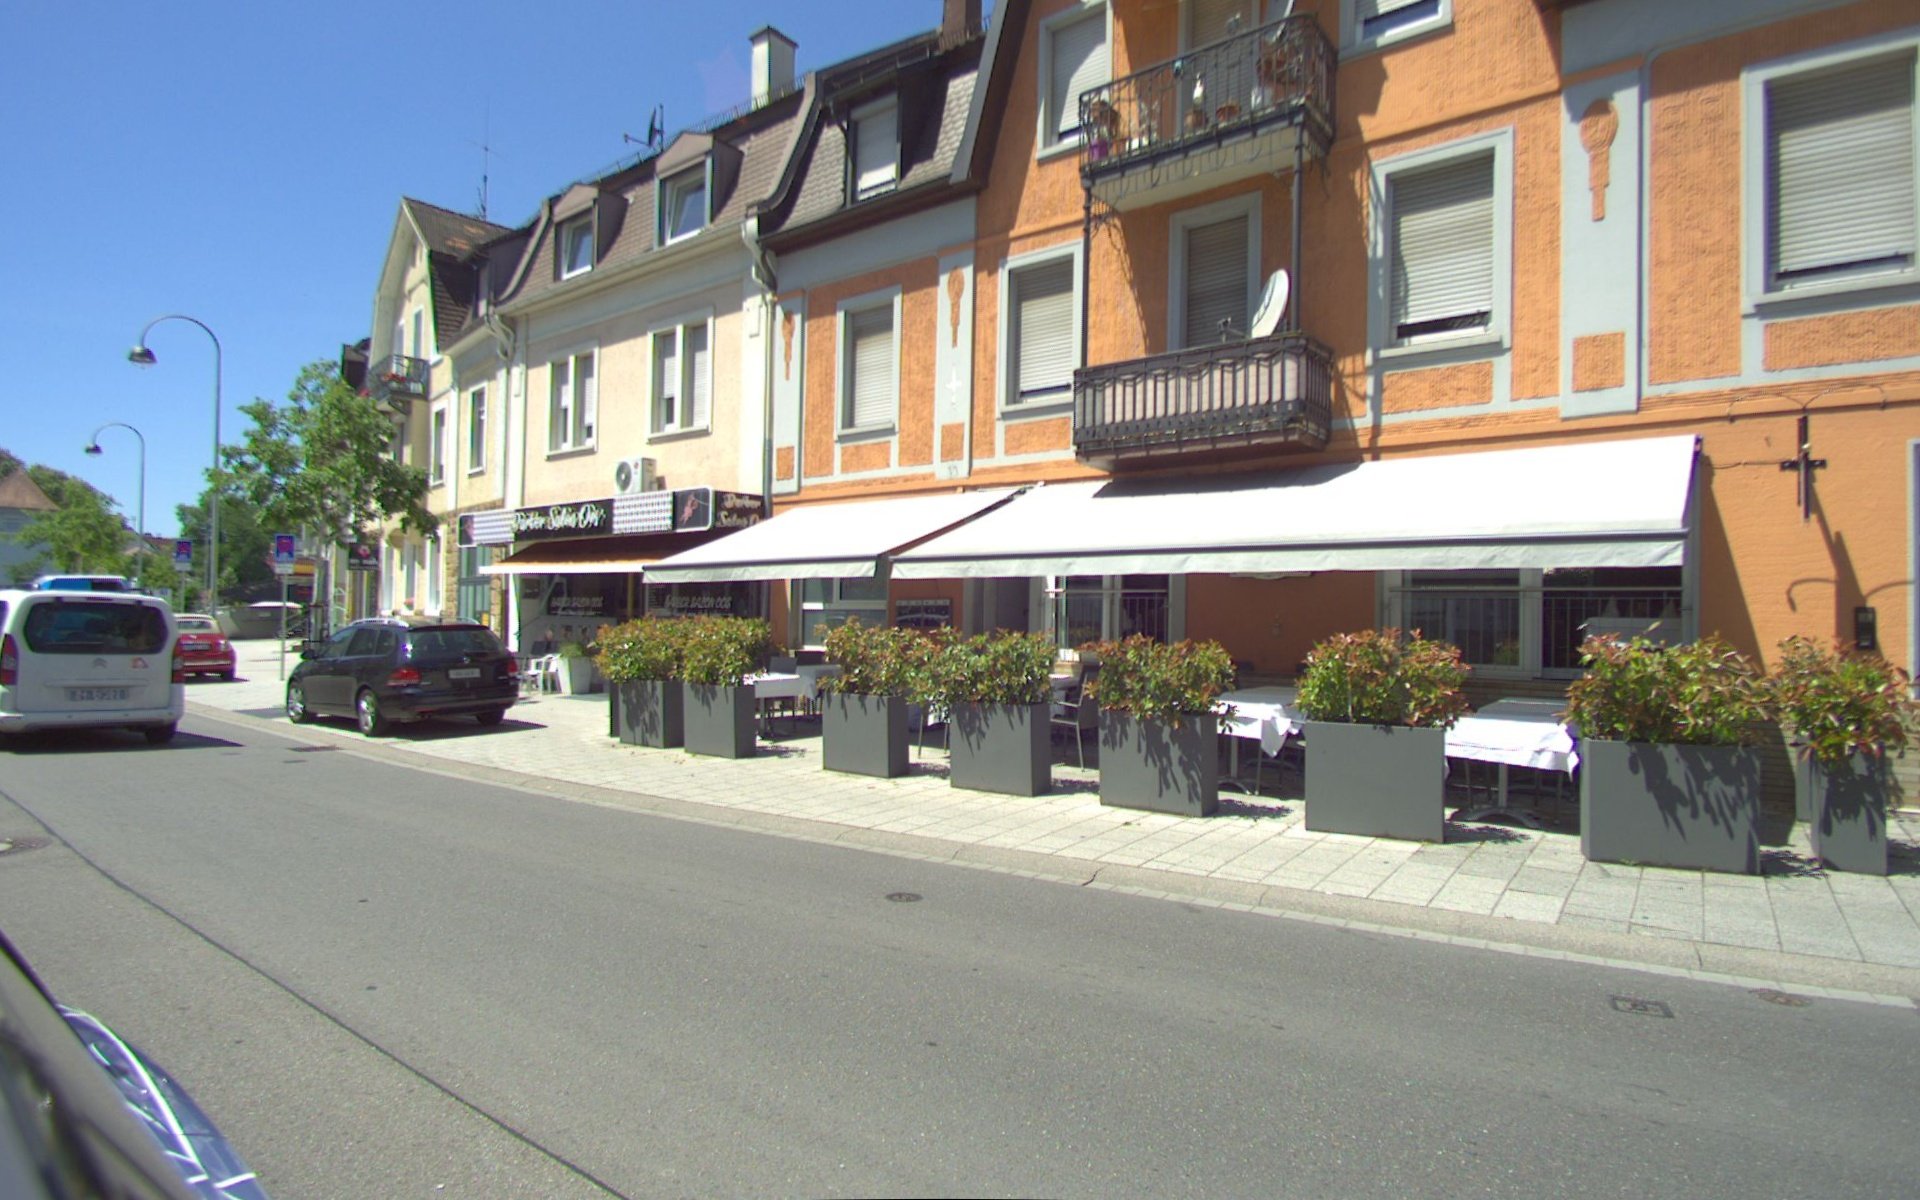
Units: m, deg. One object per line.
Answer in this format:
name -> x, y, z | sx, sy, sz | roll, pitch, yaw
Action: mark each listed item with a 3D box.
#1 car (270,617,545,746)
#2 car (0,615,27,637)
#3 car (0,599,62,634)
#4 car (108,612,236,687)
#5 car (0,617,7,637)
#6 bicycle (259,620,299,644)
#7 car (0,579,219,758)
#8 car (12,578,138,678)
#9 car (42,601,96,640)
car -> -7.799, 1.004, 14.125 | 4.333, 1.493, 1.896 | -1, 0, 40
car -> -72.895, 1.905, 75.712 | 4.289, 1.563, 1.656 | 2, -2, -36
car -> -78.383, 1.387, 84.489 | 4.788, 2.757, 1.856 | 3, -2, -32
car -> -17.860, 1.059, 22.889 | 3.512, 1.532, 1.544 | 0, -1, 40
car -> -70.681, 1.872, 72.089 | 3.756, 1.473, 1.656 | 3, -2, -34
bicycle -> -36.021, 1.681, 53.521 | 1.741, 1.244, 0.618 | 0, -1, -34
car -> -11.166, 0.776, 12.459 | 4.406, 1.836, 1.976 | -1, -4, 36
car -> -24.690, 0.734, 28.150 | 5.503, 2.517, 2.069 | -1, -1, 43
car -> -58.541, 1.417, 66.581 | 2.128, 2.380, 5.259 | 4, -4, -37
